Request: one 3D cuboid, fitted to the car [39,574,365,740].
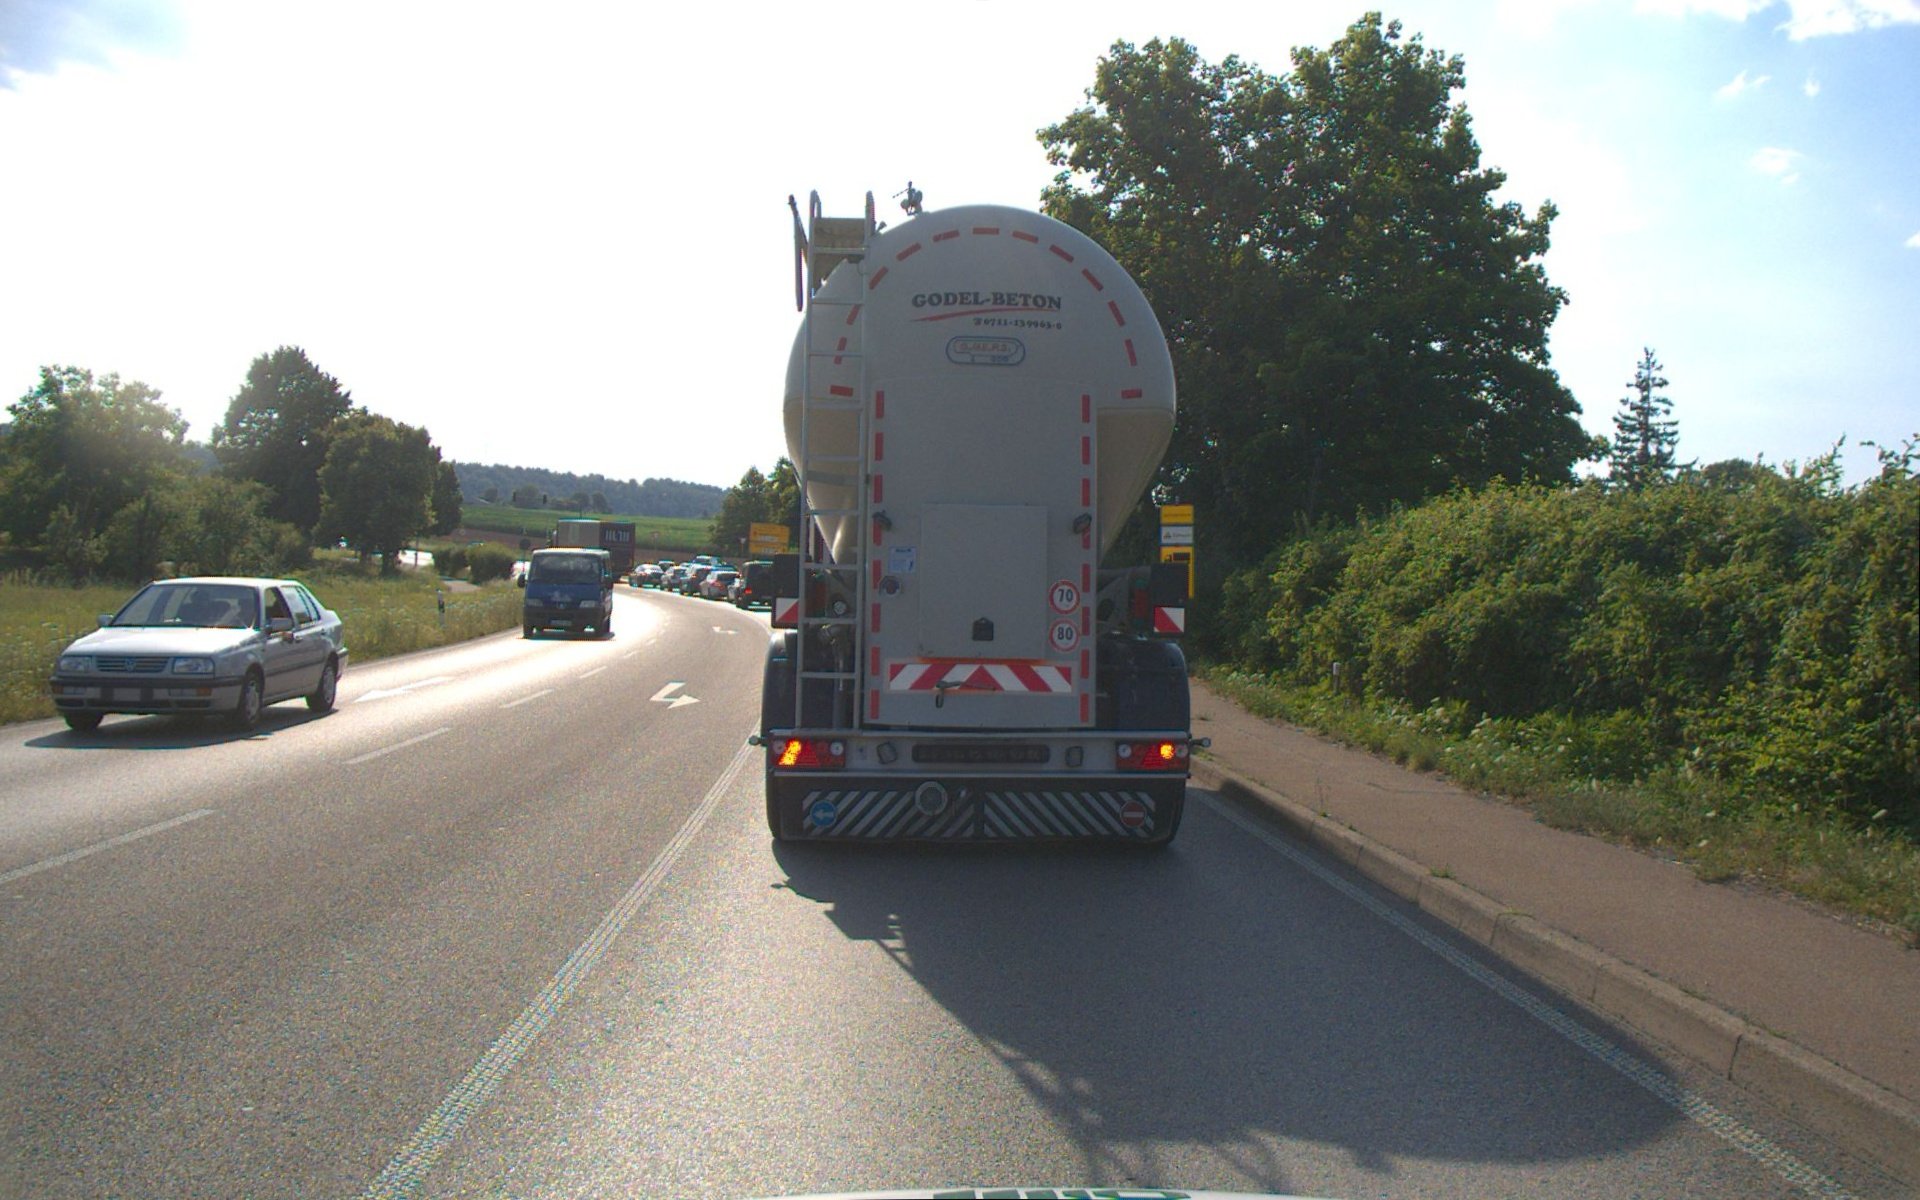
[{"bbox_3d":[-7.525,0.494,16.885,1.673,1.453,4.174,1,0,-5],"label":"car"}]

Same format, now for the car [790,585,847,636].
[{"bbox_3d":[-4.119,0.270,48.322,1.549,1.364,3.422,2,1,-5],"label":"car"}]

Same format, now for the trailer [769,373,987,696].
[{"bbox_3d":[-1.304,-0.985,30.203,2.895,4.390,14.172,2,1,-1],"label":"trailer"}]

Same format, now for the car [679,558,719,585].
[{"bbox_3d":[-14.368,-1.570,90.964,1.556,1.364,3.407,2,1,-19],"label":"car"}]

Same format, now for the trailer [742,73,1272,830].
[{"bbox_3d":[0.003,-0.831,13.990,2.851,4.076,9.924,1,0,-3],"label":"trailer"}]

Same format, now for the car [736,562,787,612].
[{"bbox_3d":[-8.518,-0.553,70.772,1.829,2.049,3.708,1,1,-12],"label":"car"}]

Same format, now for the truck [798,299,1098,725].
[{"bbox_3d":[-0.221,-0.855,18.047,2.852,4.076,4.057,1,0,-3],"label":"truck"}]

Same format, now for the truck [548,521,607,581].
[{"bbox_3d":[-30.146,-3.846,130.119,3.332,4.426,5.662,2,0,-24],"label":"truck"}]

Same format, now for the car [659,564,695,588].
[{"bbox_3d":[-16.952,-1.464,98.992,1.556,1.364,3.407,2,1,-19],"label":"car"}]

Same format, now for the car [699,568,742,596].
[{"bbox_3d":[-12.325,-0.941,84.893,1.556,1.364,3.407,2,1,-19],"label":"car"}]

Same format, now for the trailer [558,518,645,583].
[{"bbox_3d":[-26.741,-3.637,122.609,3.332,4.426,14.186,2,1,-24],"label":"trailer"}]

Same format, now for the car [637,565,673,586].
[{"bbox_3d":[-19.424,-1.577,105.263,1.742,1.227,3.407,2,1,-19],"label":"car"}]

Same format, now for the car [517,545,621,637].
[{"bbox_3d":[-9.871,-0.228,42.102,1.960,2.174,4.772,1,0,-6],"label":"car"}]
